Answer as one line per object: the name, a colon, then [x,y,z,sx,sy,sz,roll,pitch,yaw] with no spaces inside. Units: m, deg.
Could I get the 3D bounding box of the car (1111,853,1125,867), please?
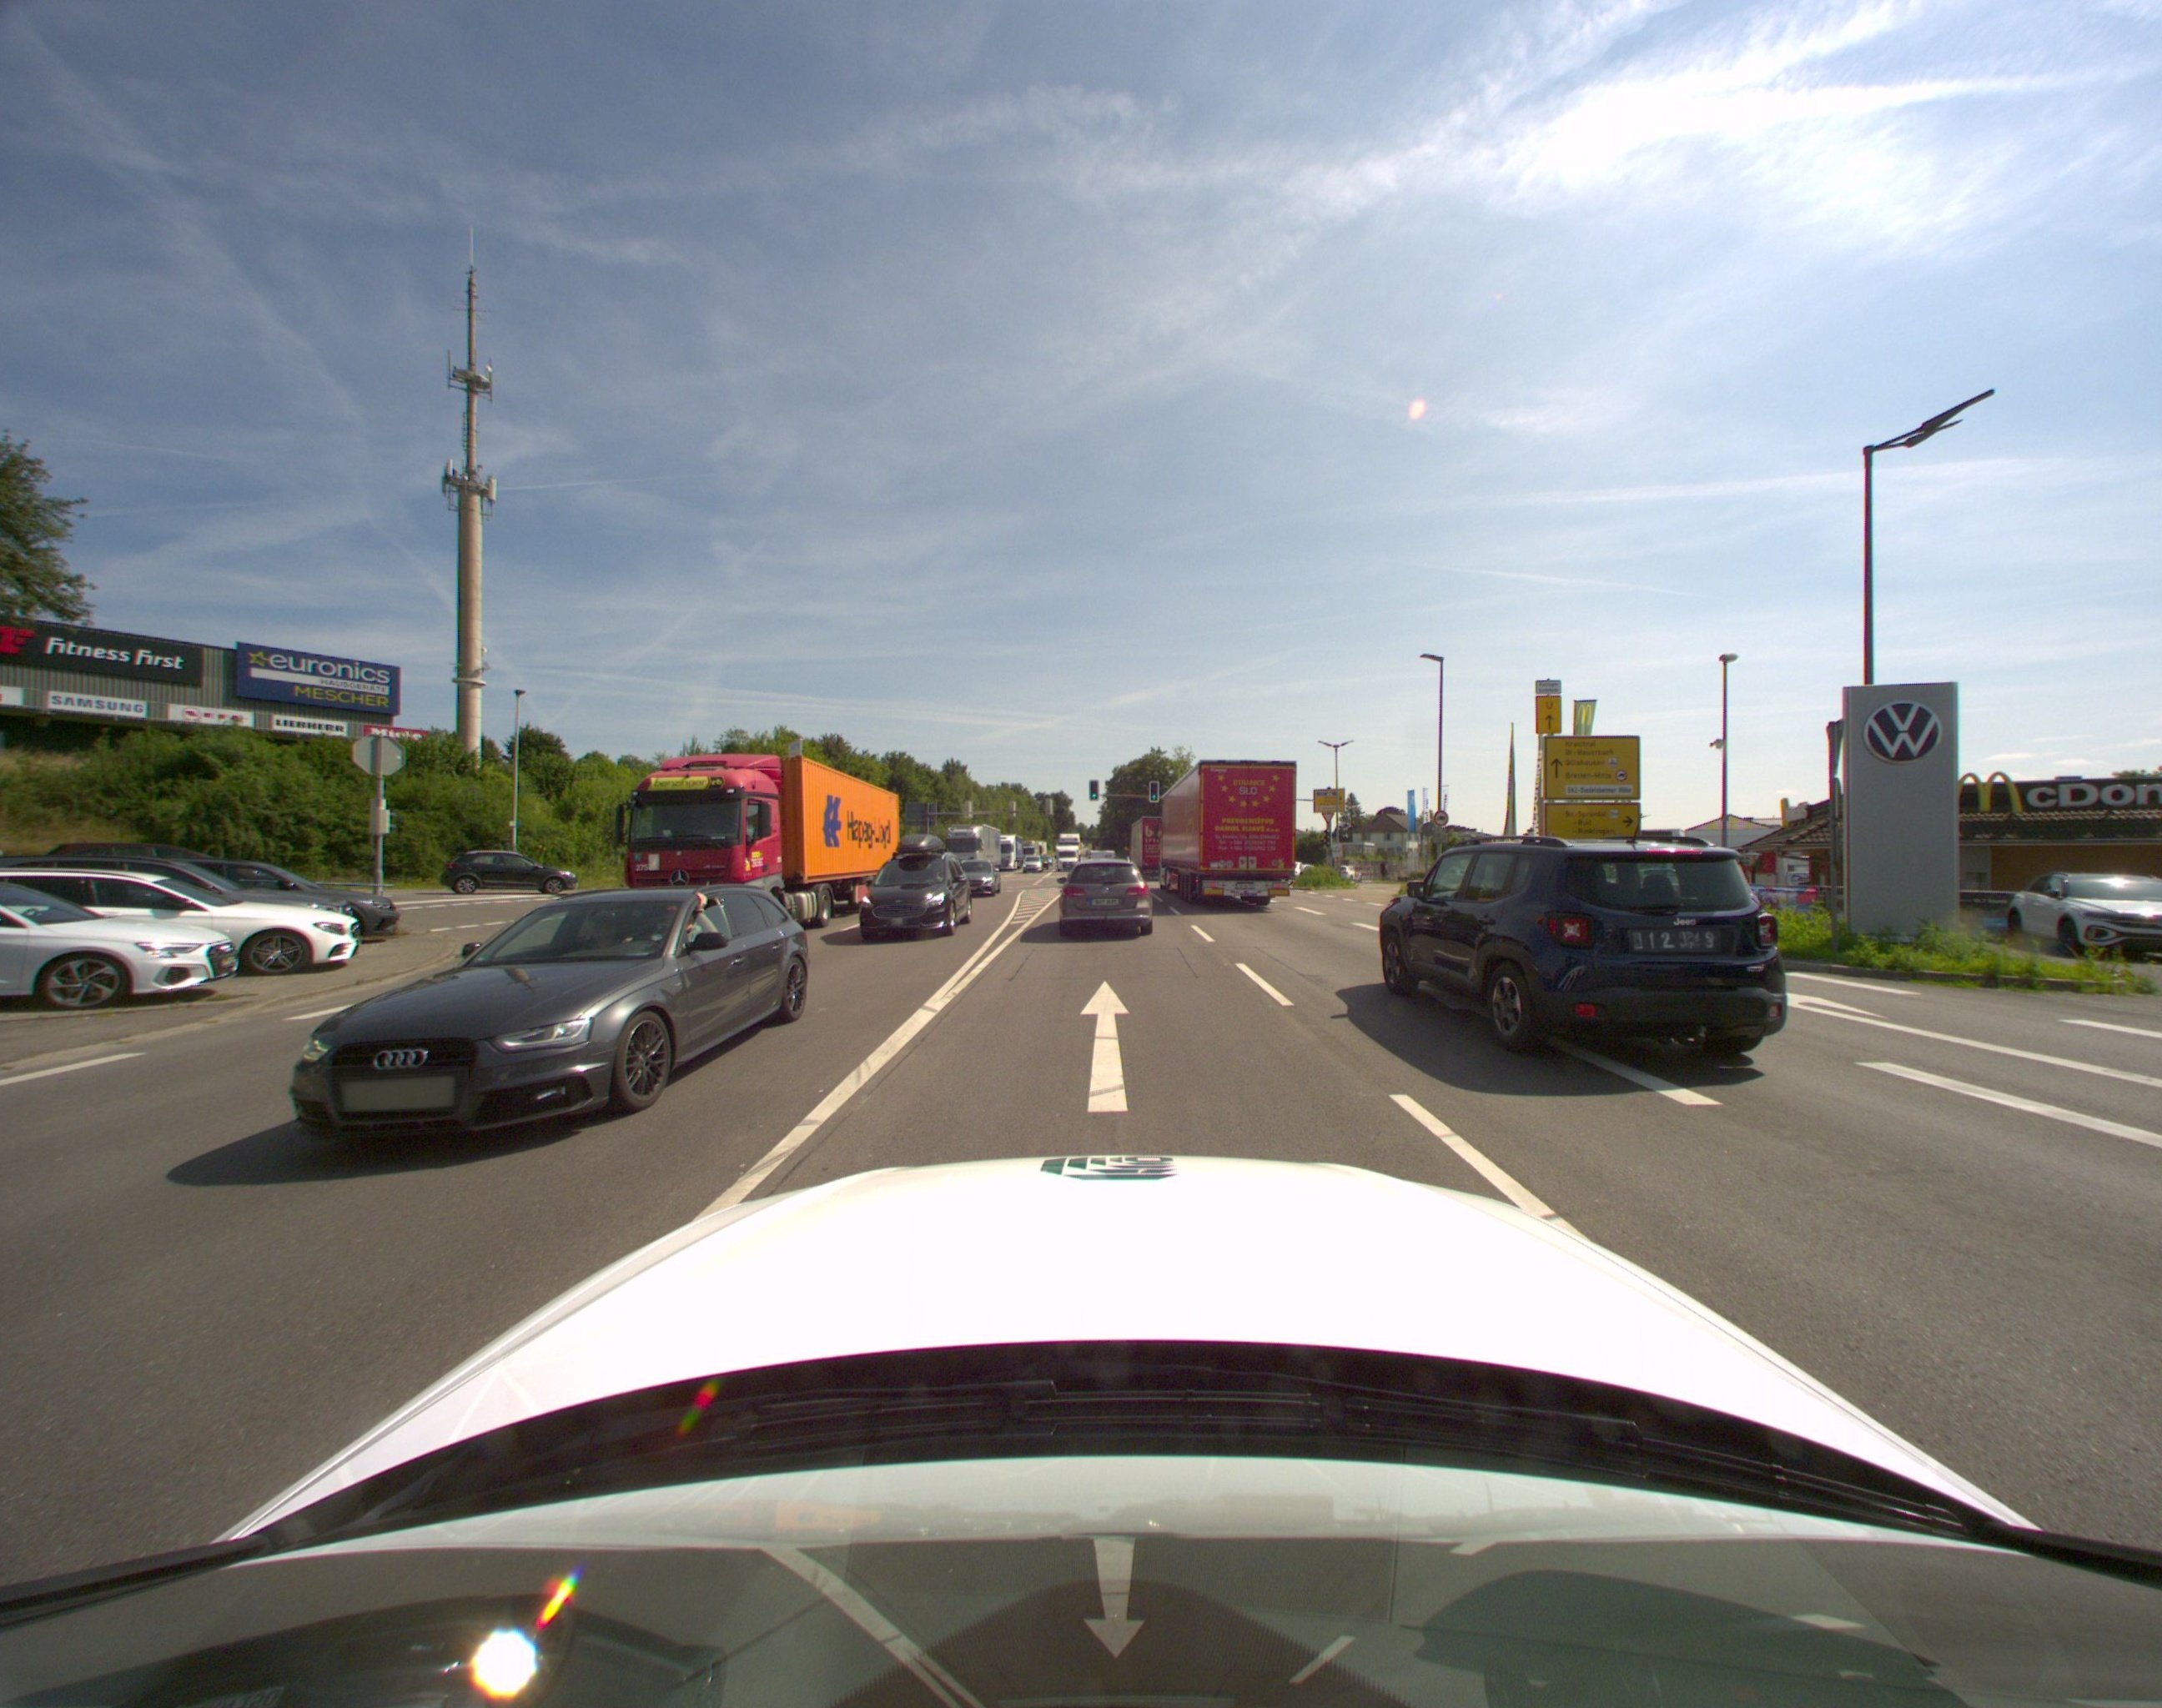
car: [5.645,0.895,125.047,1.987,2.013,3.999,-1,0,-1]

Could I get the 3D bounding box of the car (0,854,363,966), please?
car: [-15.217,0.879,13.534,4.821,1.626,1.909,3,-2,-40]

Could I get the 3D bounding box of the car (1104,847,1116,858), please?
car: [5.415,-0.204,152.850,1.987,2.013,3.999,-1,0,-1]

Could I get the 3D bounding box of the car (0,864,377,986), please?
car: [-13.515,0.968,11.897,4.738,1.513,1.933,3,-1,-39]

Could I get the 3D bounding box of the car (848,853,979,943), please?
car: [-3.479,0.839,17.812,1.903,1.602,4.587,-2,0,-1]

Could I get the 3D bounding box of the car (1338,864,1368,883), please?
car: [24.326,1.743,72.843,1.758,1.575,3.731,2,0,30]

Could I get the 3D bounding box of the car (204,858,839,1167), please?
car: [-3.669,0.858,6.635,1.855,1.524,4.590,-2,0,1]

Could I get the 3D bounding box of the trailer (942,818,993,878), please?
trailer: [-8.141,-0.391,59.286,2.636,4.105,6.182,-1,0,1]

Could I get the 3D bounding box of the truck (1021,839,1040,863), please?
truck: [-8.768,-0.477,142.309,2.721,3.999,9.616,-1,0,-1]

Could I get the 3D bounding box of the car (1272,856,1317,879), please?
car: [15.956,1.028,60.687,1.974,1.575,4.025,2,0,34]

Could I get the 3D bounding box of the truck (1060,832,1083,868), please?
truck: [-1.190,-0.452,96.422,2.530,4.088,6.262,-1,0,-1]

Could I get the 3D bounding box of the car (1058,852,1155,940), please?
car: [0.425,0.750,16.424,1.686,1.513,3.998,-1,0,-1]

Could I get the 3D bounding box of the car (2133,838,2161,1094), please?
car: [7.363,0.639,2.717,1.987,1.519,4.450,-1,0,1]

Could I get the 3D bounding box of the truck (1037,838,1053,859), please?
truck: [-7.040,-1.059,161.682,2.821,4.116,9.677,-1,0,-1]

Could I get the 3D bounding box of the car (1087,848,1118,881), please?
car: [1.319,0.625,51.323,1.765,1.936,3.976,-1,0,-1]

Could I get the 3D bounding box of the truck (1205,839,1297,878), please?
truck: [18.873,0.566,90.238,9.692,3.628,2.751,4,-2,-17]

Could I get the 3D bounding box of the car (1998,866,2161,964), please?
car: [19.667,1.077,15.673,1.837,1.576,4.260,-1,0,37]

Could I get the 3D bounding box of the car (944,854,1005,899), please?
car: [-4.302,0.871,33.632,1.915,1.602,4.587,-2,0,-1]

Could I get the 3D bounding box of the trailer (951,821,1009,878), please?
trailer: [-7.961,-0.317,66.227,2.682,4.147,13.882,-1,0,1]

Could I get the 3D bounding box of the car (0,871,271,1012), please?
car: [-12.884,0.959,9.331,4.732,1.475,1.874,3,-1,-32]

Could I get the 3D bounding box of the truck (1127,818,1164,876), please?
truck: [4.800,-0.514,61.565,2.397,4.128,5.523,-1,0,1]

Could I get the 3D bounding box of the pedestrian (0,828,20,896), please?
pedestrian: [-24.564,0.181,18.407,0.383,1.535,0.494,4,-2,-11]

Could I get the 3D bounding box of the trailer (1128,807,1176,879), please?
trailer: [4.582,-0.639,54.793,2.386,4.243,13.082,-1,0,2]

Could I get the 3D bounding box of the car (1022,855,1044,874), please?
car: [-4.681,0.989,79.801,1.837,1.732,4.587,1,0,-1]

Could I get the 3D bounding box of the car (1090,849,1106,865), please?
car: [2.191,0.380,106.302,1.987,2.013,3.999,-1,0,-1]

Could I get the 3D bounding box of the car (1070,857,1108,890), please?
car: [0.370,0.923,40.640,1.765,1.513,3.998,-1,0,-1]

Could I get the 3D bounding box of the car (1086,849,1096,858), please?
car: [2.256,-0.203,186.016,1.987,2.013,3.999,-1,0,-1]

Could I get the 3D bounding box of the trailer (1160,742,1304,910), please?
trailer: [4.602,-0.729,27.989,2.829,4.365,13.171,1,0,2]

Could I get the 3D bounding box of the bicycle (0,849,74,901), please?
bicycle: [-24.384,0.418,18.328,2.214,1.029,0.589,6,-2,-11]

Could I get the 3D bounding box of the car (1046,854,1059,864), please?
car: [-4.264,0.704,121.209,1.719,1.502,4.001,-1,0,1]

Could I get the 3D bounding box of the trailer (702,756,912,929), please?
trailer: [-7.674,-0.249,25.194,2.714,3.998,12.224,-1,0,-2]

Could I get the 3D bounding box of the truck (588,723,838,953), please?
truck: [-7.391,-0.283,17.411,2.714,3.998,6.052,-1,0,-2]

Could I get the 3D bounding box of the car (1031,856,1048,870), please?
car: [-4.888,1.060,96.748,1.989,1.485,4.449,-1,0,-3]

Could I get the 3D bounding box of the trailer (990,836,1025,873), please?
trailer: [-8.770,0.079,98.761,3.084,4.079,14.122,-1,0,-1]

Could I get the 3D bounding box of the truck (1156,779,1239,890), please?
truck: [4.801,-0.751,34.576,2.859,4.281,5.841,1,0,2]

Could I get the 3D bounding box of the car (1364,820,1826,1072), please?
car: [4.128,0.622,7.448,1.764,1.654,4.001,-1,0,2]

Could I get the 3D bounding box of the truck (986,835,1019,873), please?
truck: [-8.747,-0.015,91.395,3.178,4.079,6.343,-1,0,-1]

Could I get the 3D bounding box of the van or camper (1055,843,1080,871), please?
van or camper: [-1.311,0.307,82.657,2.323,2.600,6.978,-1,0,0]

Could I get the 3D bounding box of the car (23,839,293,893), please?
car: [-26.611,0.413,23.836,5.001,1.419,1.926,3,-3,-43]

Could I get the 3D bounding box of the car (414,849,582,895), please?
car: [-20.858,0.672,29.289,4.661,1.527,1.892,3,-1,-43]

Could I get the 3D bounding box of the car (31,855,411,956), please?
car: [-16.129,0.939,15.734,4.767,1.626,1.867,3,-1,-42]
